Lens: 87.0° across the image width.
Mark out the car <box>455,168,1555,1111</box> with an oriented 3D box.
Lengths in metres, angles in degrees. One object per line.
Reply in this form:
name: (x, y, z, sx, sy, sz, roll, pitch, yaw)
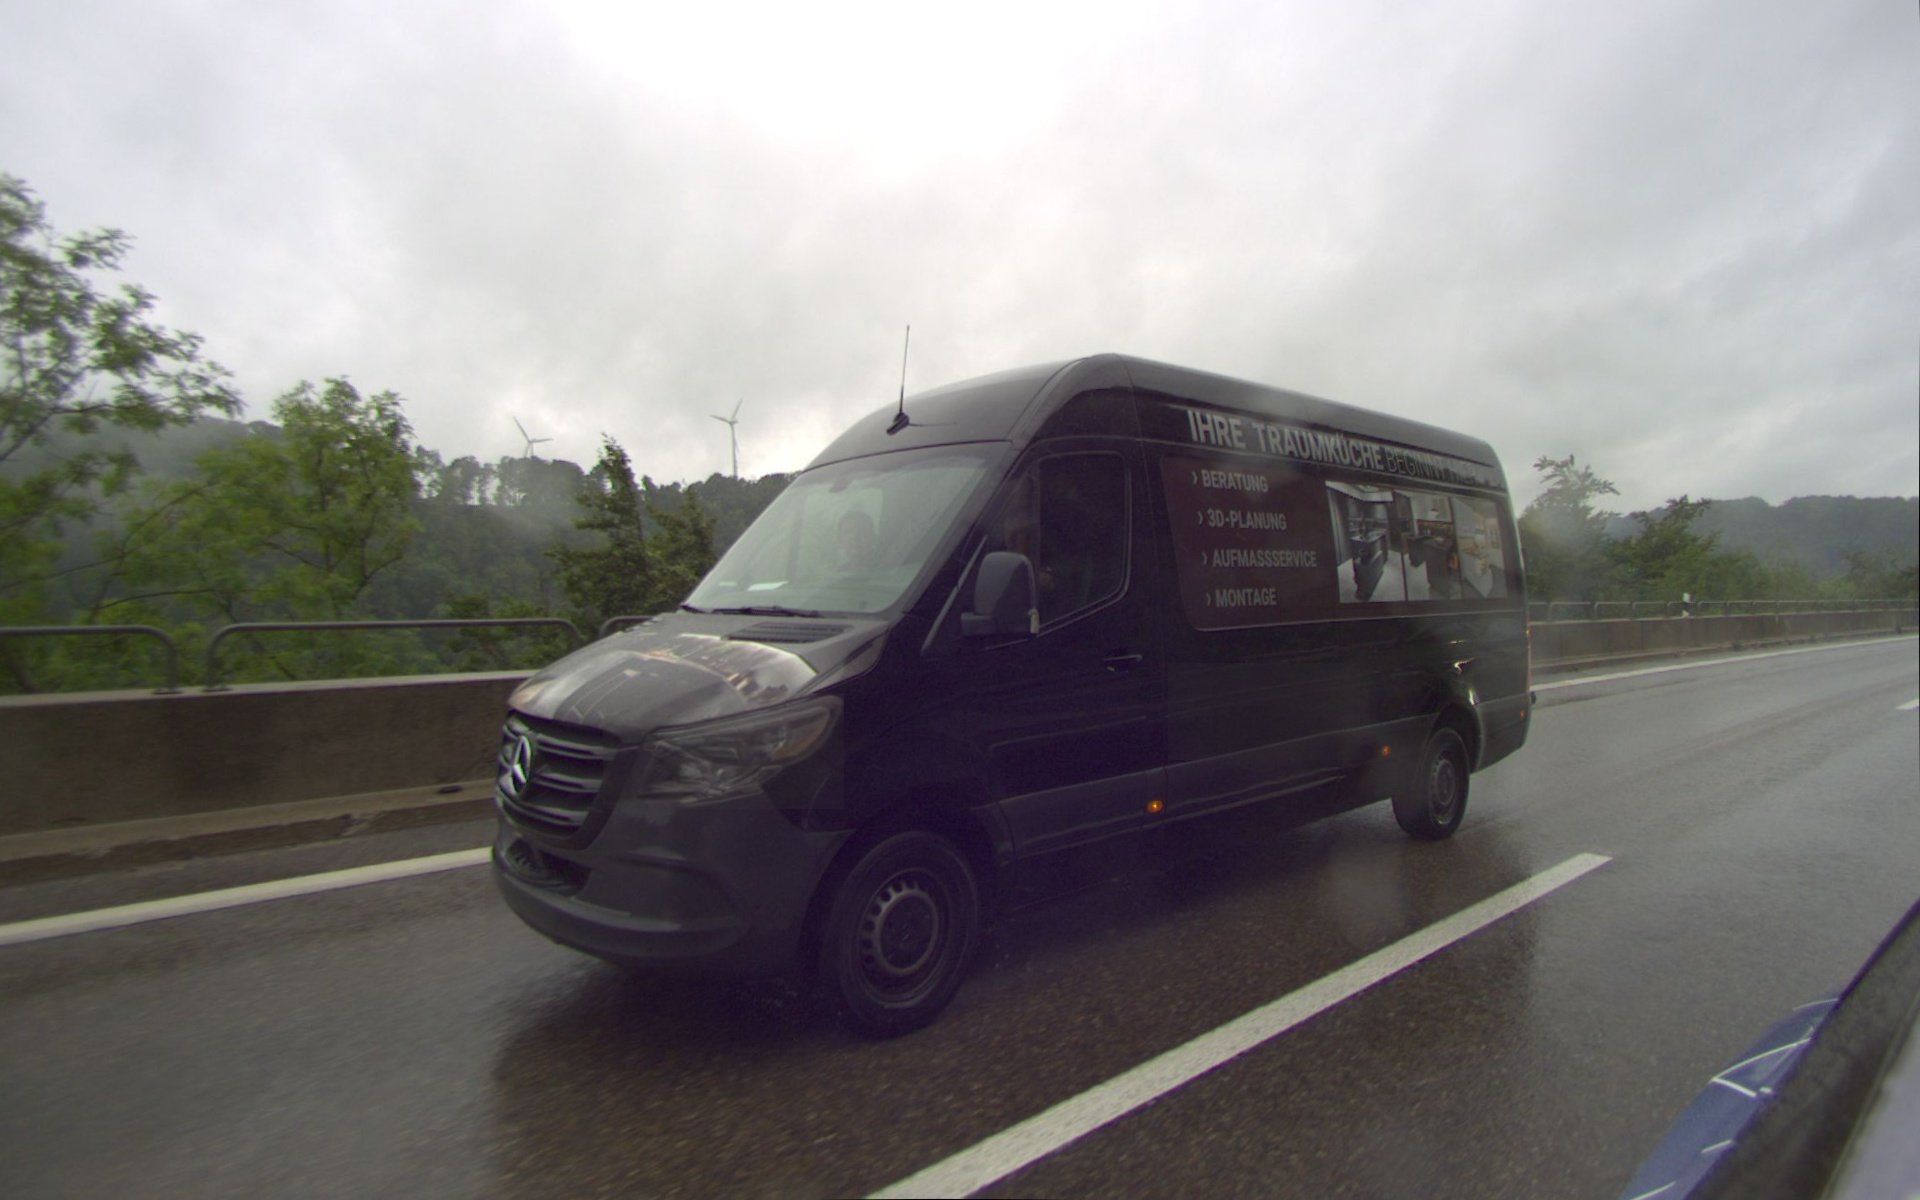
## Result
car: (1.027, 0.110, 5.653, 6.588, 2.525, 1.997, 1, 0, -41)
